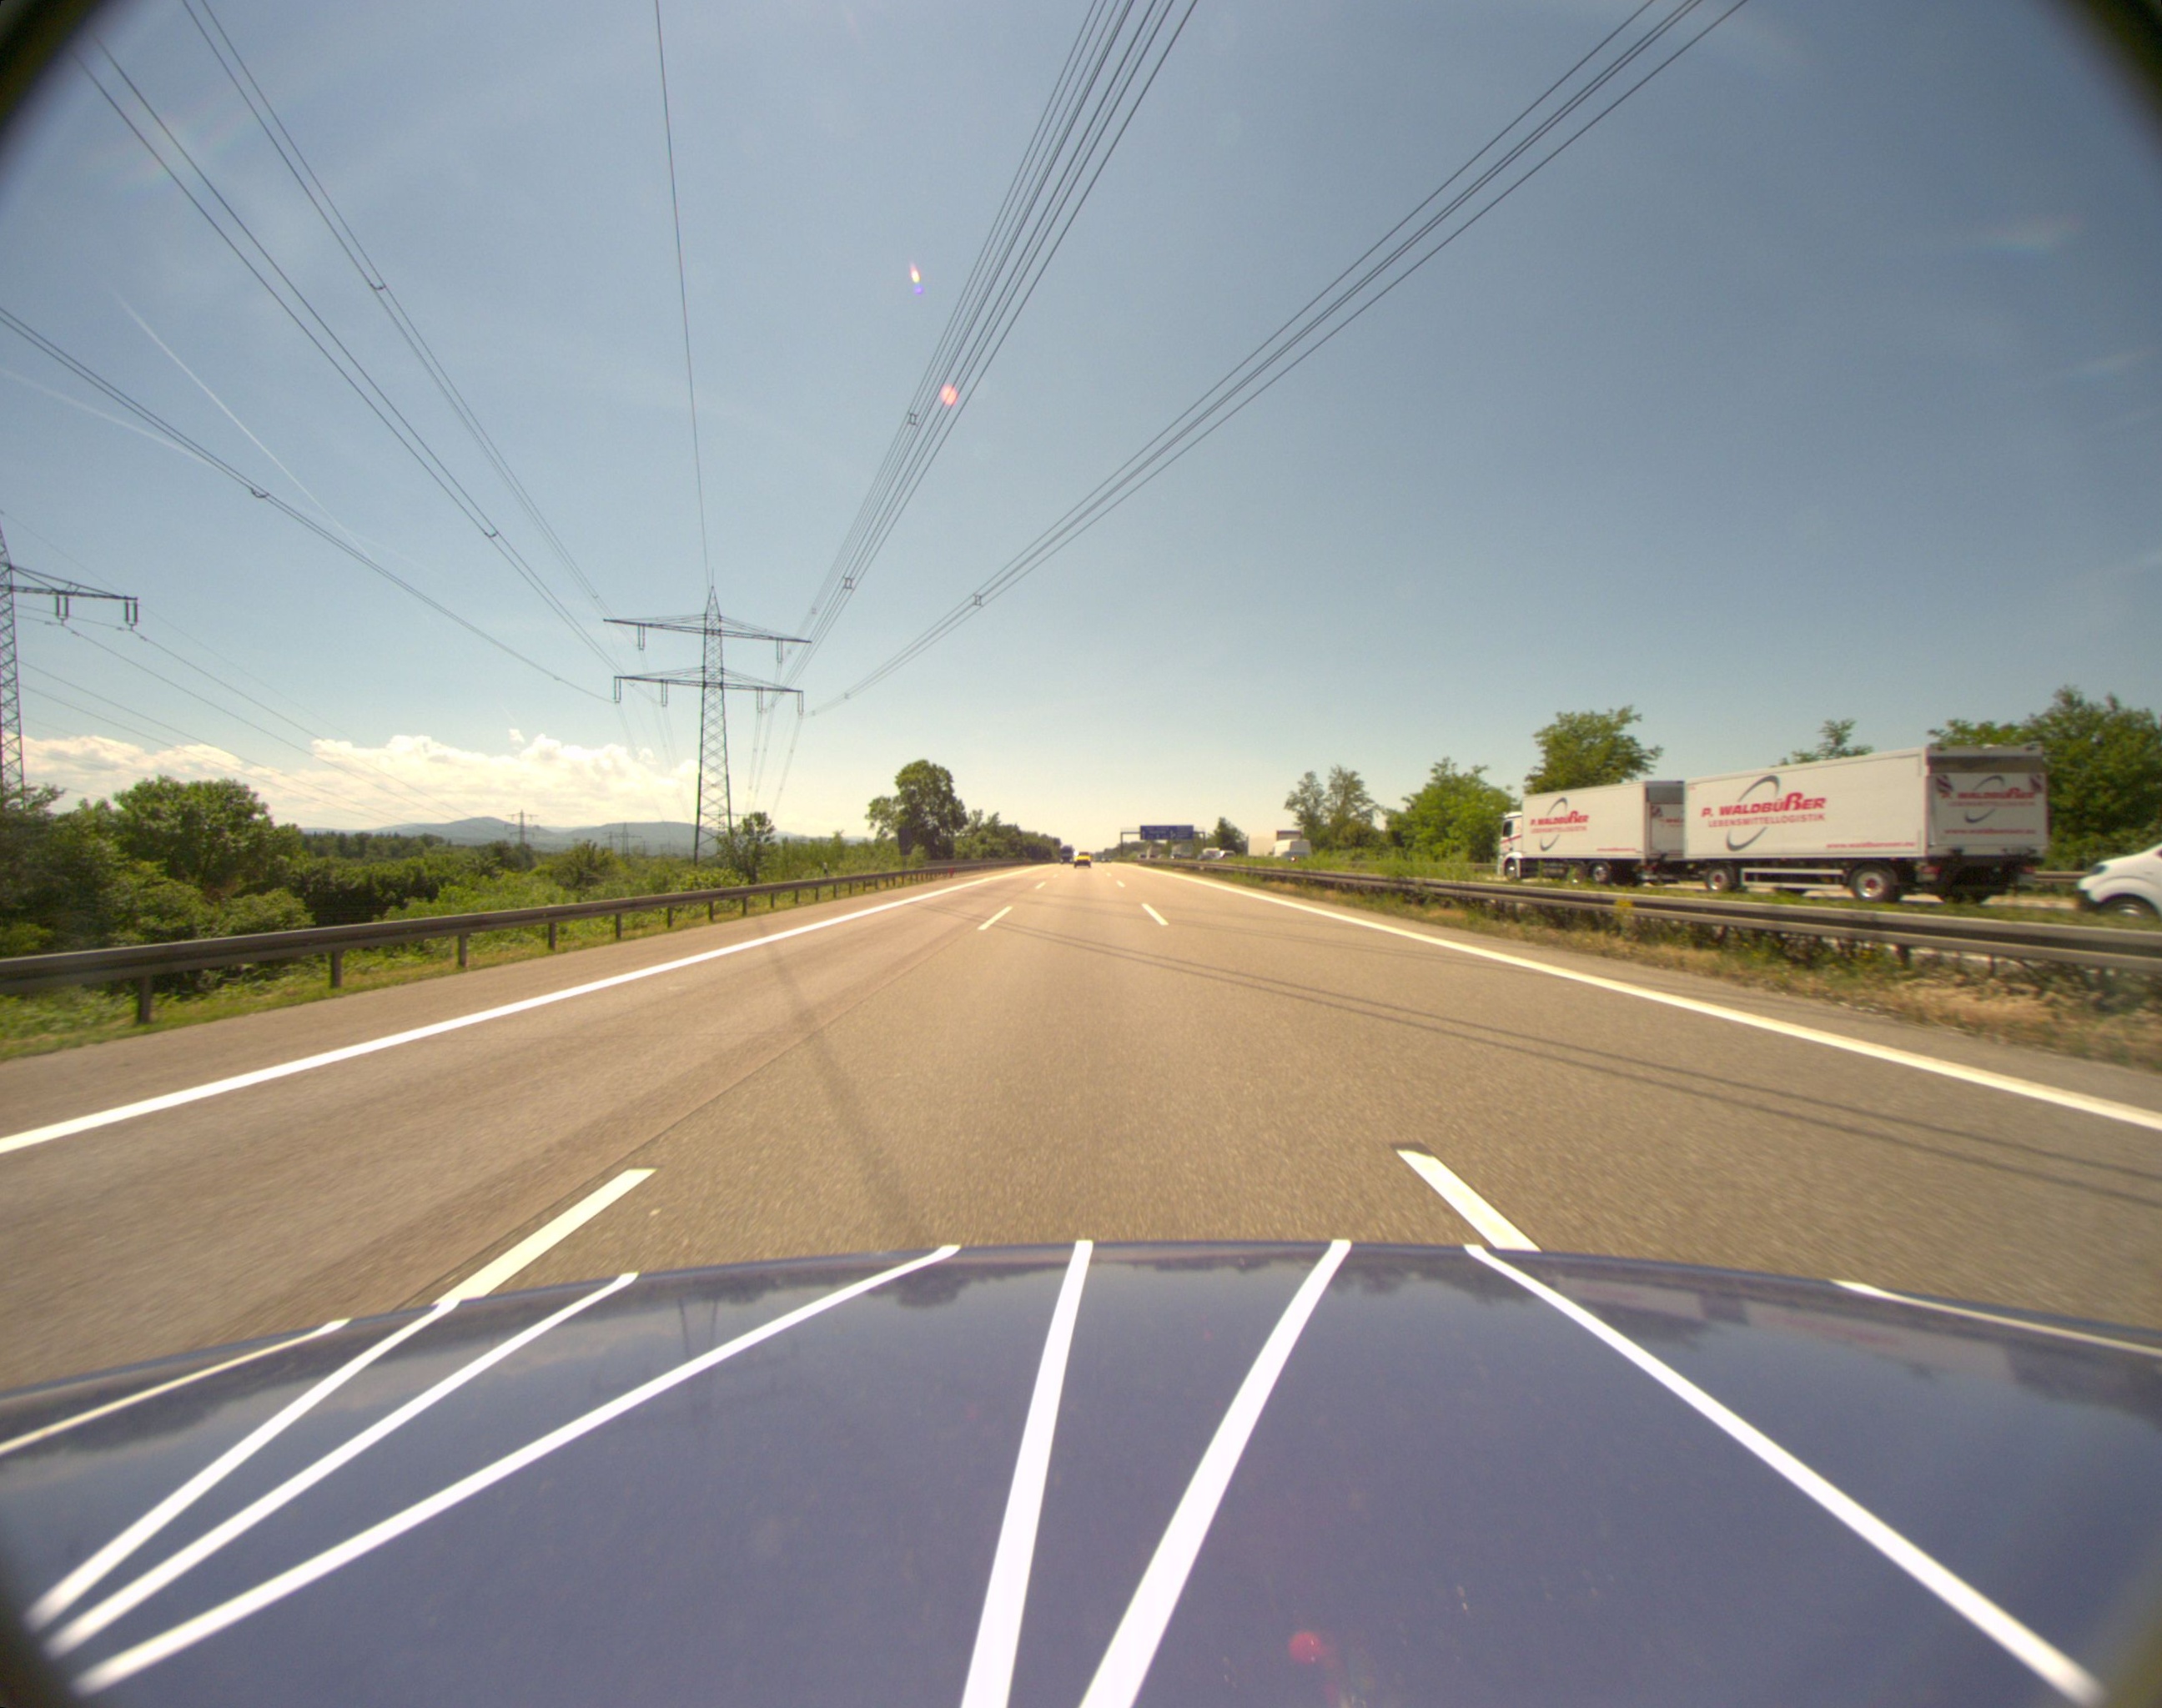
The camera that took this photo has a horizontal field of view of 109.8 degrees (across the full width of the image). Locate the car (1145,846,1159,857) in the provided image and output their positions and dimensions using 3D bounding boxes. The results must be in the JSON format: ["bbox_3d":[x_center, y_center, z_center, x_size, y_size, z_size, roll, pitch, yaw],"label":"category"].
[{"bbox_3d":[14.405,-0.508,153.621,2.303,2.002,4.557,-3,0,1],"label":"car"}]

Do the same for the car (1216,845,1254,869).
[{"bbox_3d":[13.984,0.222,69.192,2.489,2.002,4.557,-3,0,1],"label":"car"}]

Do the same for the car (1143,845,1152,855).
[{"bbox_3d":[18.478,-1.107,211.468,2.174,2.569,6.038,-1,0,1],"label":"car"}]

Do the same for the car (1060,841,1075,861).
[{"bbox_3d":[-2.600,-0.596,151.376,2.686,3.724,6.270,-1,0,1],"label":"car"}]

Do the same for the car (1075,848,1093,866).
[{"bbox_3d":[0.345,0.303,86.690,1.955,2.002,5.433,-1,0,1],"label":"car"}]

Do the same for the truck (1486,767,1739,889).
[{"bbox_3d":[20.457,-0.881,30.523,2.699,3.927,10.592,-3,0,0],"label":"truck"}]

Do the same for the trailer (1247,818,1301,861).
[{"bbox_3d":[21.472,-1.498,85.471,2.429,4.264,14.431,-3,0,1],"label":"trailer"}]

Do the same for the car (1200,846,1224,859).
[{"bbox_3d":[17.558,-0.187,102.237,2.393,1.630,4.819,-3,0,1],"label":"car"}]

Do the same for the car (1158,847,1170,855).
[{"bbox_3d":[18.329,-0.619,167.184,2.080,1.820,5.108,0,0,1],"label":"car"}]

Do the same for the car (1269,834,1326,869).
[{"bbox_3d":[17.273,-0.223,61.054,2.489,2.564,7.121,-3,0,1],"label":"car"}]

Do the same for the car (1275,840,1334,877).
[{"bbox_3d":[13.577,0.251,46.596,1.998,2.002,5.701,-3,0,1],"label":"car"}]

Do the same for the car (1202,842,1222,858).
[{"bbox_3d":[22.225,-0.715,128.784,2.424,2.599,5.716,0,0,1],"label":"car"}]

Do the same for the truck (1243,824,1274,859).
[{"bbox_3d":[21.538,-1.454,92.425,2.429,4.087,4.920,-3,0,0],"label":"truck"}]

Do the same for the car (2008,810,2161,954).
[{"bbox_3d":[16.062,0.365,9.507,1.998,2.002,5.701,-3,0,1],"label":"car"}]

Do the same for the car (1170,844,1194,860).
[{"bbox_3d":[13.667,-0.294,103.514,2.489,1.920,5.739,-3,0,1],"label":"car"}]

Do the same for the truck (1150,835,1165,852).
[{"bbox_3d":[18.833,-2.603,188.514,2.863,3.896,9.493,-3,1,1],"label":"truck"}]

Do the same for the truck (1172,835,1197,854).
[{"bbox_3d":[22.288,-1.951,164.683,3.252,3.780,17.012,-3,0,1],"label":"truck"}]

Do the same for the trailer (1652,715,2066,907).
[{"bbox_3d":[20.383,-0.968,21.006,2.848,4.140,8.326,-3,0,0],"label":"trailer"}]
